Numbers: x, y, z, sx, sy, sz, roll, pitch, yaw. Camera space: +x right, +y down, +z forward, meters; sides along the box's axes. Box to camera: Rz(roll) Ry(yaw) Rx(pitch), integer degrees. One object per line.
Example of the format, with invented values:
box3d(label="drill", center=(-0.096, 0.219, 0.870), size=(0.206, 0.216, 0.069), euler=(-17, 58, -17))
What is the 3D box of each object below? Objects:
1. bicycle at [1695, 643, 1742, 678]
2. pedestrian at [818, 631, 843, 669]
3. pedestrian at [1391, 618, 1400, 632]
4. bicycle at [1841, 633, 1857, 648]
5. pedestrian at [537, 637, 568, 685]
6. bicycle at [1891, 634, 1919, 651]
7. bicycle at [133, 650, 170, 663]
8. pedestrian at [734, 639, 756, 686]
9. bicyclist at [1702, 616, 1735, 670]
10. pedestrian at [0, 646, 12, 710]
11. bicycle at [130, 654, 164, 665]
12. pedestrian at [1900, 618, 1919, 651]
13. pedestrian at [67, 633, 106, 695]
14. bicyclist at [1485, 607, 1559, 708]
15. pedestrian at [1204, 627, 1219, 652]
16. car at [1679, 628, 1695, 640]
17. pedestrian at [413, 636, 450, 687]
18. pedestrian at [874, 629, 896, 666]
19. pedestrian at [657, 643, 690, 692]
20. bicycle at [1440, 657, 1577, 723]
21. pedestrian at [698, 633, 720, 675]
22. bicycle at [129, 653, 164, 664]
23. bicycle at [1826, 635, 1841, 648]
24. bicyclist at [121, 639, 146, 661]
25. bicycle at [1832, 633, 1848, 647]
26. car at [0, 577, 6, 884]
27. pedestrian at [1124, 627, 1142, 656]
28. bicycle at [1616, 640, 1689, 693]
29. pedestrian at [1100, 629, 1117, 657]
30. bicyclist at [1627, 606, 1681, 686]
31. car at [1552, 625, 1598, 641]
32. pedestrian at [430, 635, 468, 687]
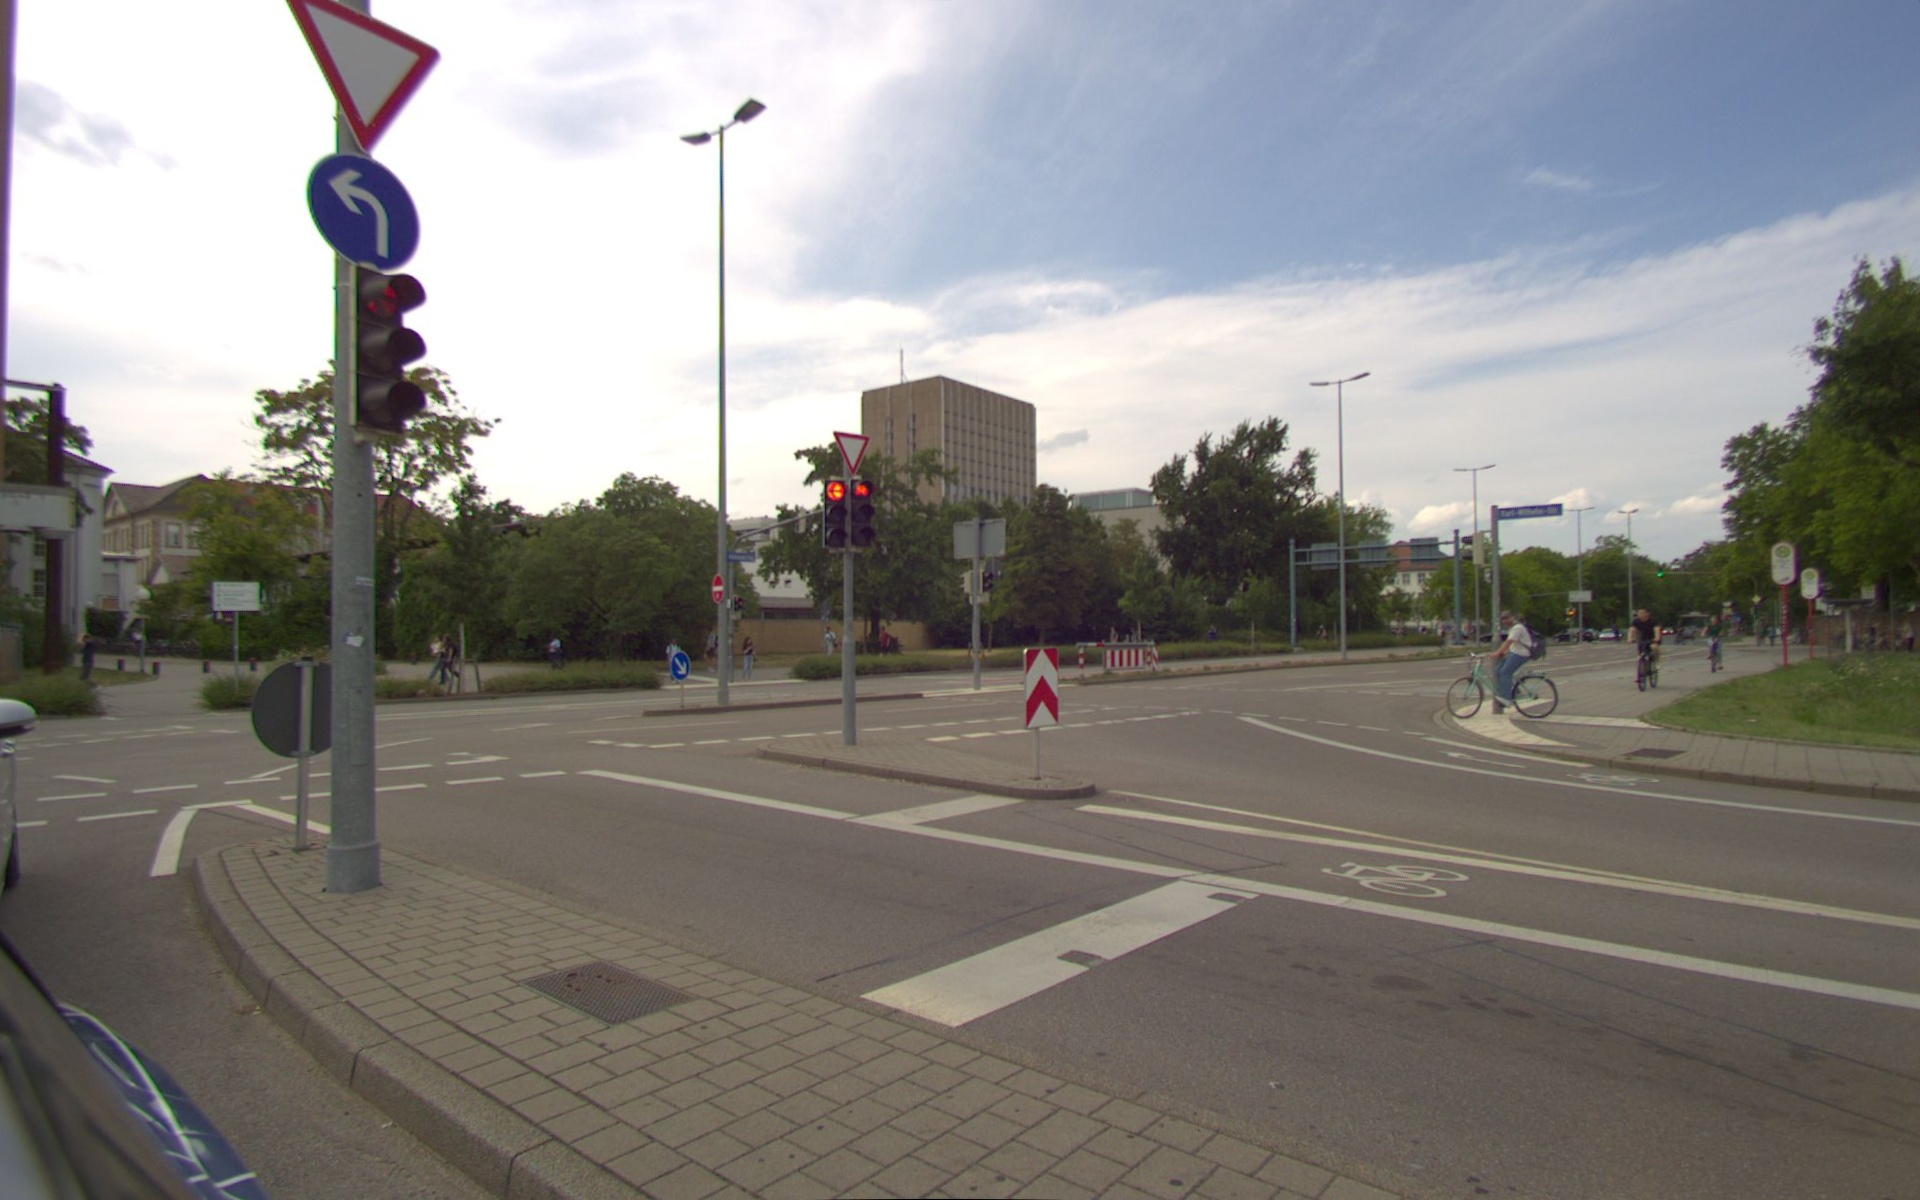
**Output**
box3d(label="bicycle", center=(22.932, 1.809, 30.580), size=(1.939, 0.943, 0.507), euler=(-2, -1, -34))
box3d(label="pedestrian", center=(-5.910, 2.282, 46.227), size=(0.841, 1.724, 0.686), euler=(-5, -4, 39))
box3d(label="pedestrian", center=(53.292, 3.090, 123.795), size=(0.769, 1.724, 0.685), euler=(-5, -4, 42))
box3d(label="bicycle", center=(58.235, 2.648, 66.325), size=(0.432, 0.894, 1.559), euler=(-6, -5, 31))
box3d(label="pedestrian", center=(-15.140, 2.266, 37.625), size=(0.714, 1.724, 0.789), euler=(-5, -4, 39))
box3d(label="bicycle", center=(52.127, 2.329, 55.741), size=(0.657, 0.894, 1.564), euler=(-5, -4, 22))
box3d(label="bicycle", center=(-51.926, 3.631, 65.015), size=(1.816, 0.699, 0.653), euler=(0, -4, -40))
box3d(label="pedestrian", center=(-7.964, 2.319, 37.487), size=(0.579, 1.724, 0.482), euler=(1, -4, -42))
box3d(label="bicyclist", center=(22.945, 1.288, 30.615), size=(0.784, 1.567, 0.496), euler=(-2, -1, -34))
box3d(label="pedestrian", center=(-26.331, 2.134, 27.516), size=(0.788, 1.724, 0.840), euler=(1, -4, -44))
box3d(label="bicycle", center=(-55.231, 4.047, 68.767), size=(1.816, 0.699, 0.653), euler=(0, -4, -40))
box3d(label="pedestrian", center=(48.882, 1.775, 51.834), size=(0.749, 1.634, 0.661), euler=(-3, -3, 19))
box3d(label="pedestrian", center=(-25.021, 1.832, 28.995), size=(0.788, 1.724, 0.840), euler=(1, -4, -44))
box3d(label="bicyclist", center=(9.120, 0.919, 16.429), size=(0.786, 1.567, 0.580), euler=(-2, -1, -4))
box3d(label="pedestrian", center=(18.024, 2.846, 72.507), size=(0.714, 1.724, 0.685), euler=(-5, -4, 42))
box3d(label="car", center=(99.976, 4.632, 139.152), size=(1.697, 1.492, 4.362), euler=(-5, -4, 36))
box3d(label="pedestrian", center=(-18.184, 2.107, 34.835), size=(0.835, 1.724, 0.792), euler=(-4, -3, 27))
box3d(label="pedestrian", center=(-3.579, 2.254, 48.253), size=(0.714, 1.724, 0.685), euler=(-5, -4, 42))
box3d(label="pedestrian", center=(-10.223, 2.403, 36.101), size=(0.827, 1.724, 0.801), euler=(0, -4, -42))
box3d(label="bicycle", center=(8.876, 1.454, 16.398), size=(1.942, 0.943, 0.506), euler=(-2, -1, -4))
box3d(label="pedestrian", center=(-10.428, 2.234, 41.988), size=(0.544, 1.709, 0.686), euler=(0, -1, 39))
box3d(label="bicycle", center=(-54.100, 3.880, 67.300), size=(1.816, 0.699, 0.653), euler=(0, -4, -40))
box3d(label="bicycle", center=(59.966, 2.832, 69.479), size=(0.432, 0.894, 1.559), euler=(-6, -5, 31))
box3d(label="bicyclist", center=(-50.572, 3.052, 61.941), size=(0.995, 1.287, 0.842), euler=(-1, -2, -27))
box3d(label="bicycle", center=(59.008, 2.695, 67.871), size=(0.432, 0.894, 1.559), euler=(-6, -5, 31))
box3d(label="car", center=(-5.368, 0.703, 4.328), size=(1.797, 1.747, 4.533), euler=(0, -4, -43))
box3d(label="pedestrian", center=(10.246, 2.459, 60.058), size=(0.683, 1.724, 0.735), euler=(1, -4, -44))
box3d(label="bicycle", center=(14.129, 1.335, 20.632), size=(1.939, 0.943, 0.507), euler=(-2, -1, -34))
box3d(label="pedestrian", center=(9.331, 2.699, 63.404), size=(0.714, 1.724, 0.685), euler=(-5, -4, 42))
box3d(label="bicyclist", center=(14.167, 0.927, 20.659), size=(0.784, 1.567, 0.581), euler=(-2, -1, -34))
box3d(label="car", center=(63.209, 3.410, 104.045), size=(1.761, 1.501, 4.139), euler=(1, 0, -10))
box3d(label="pedestrian", center=(-17.402, 2.083, 34.479), size=(0.835, 1.724, 0.792), euler=(-4, -3, 27))
